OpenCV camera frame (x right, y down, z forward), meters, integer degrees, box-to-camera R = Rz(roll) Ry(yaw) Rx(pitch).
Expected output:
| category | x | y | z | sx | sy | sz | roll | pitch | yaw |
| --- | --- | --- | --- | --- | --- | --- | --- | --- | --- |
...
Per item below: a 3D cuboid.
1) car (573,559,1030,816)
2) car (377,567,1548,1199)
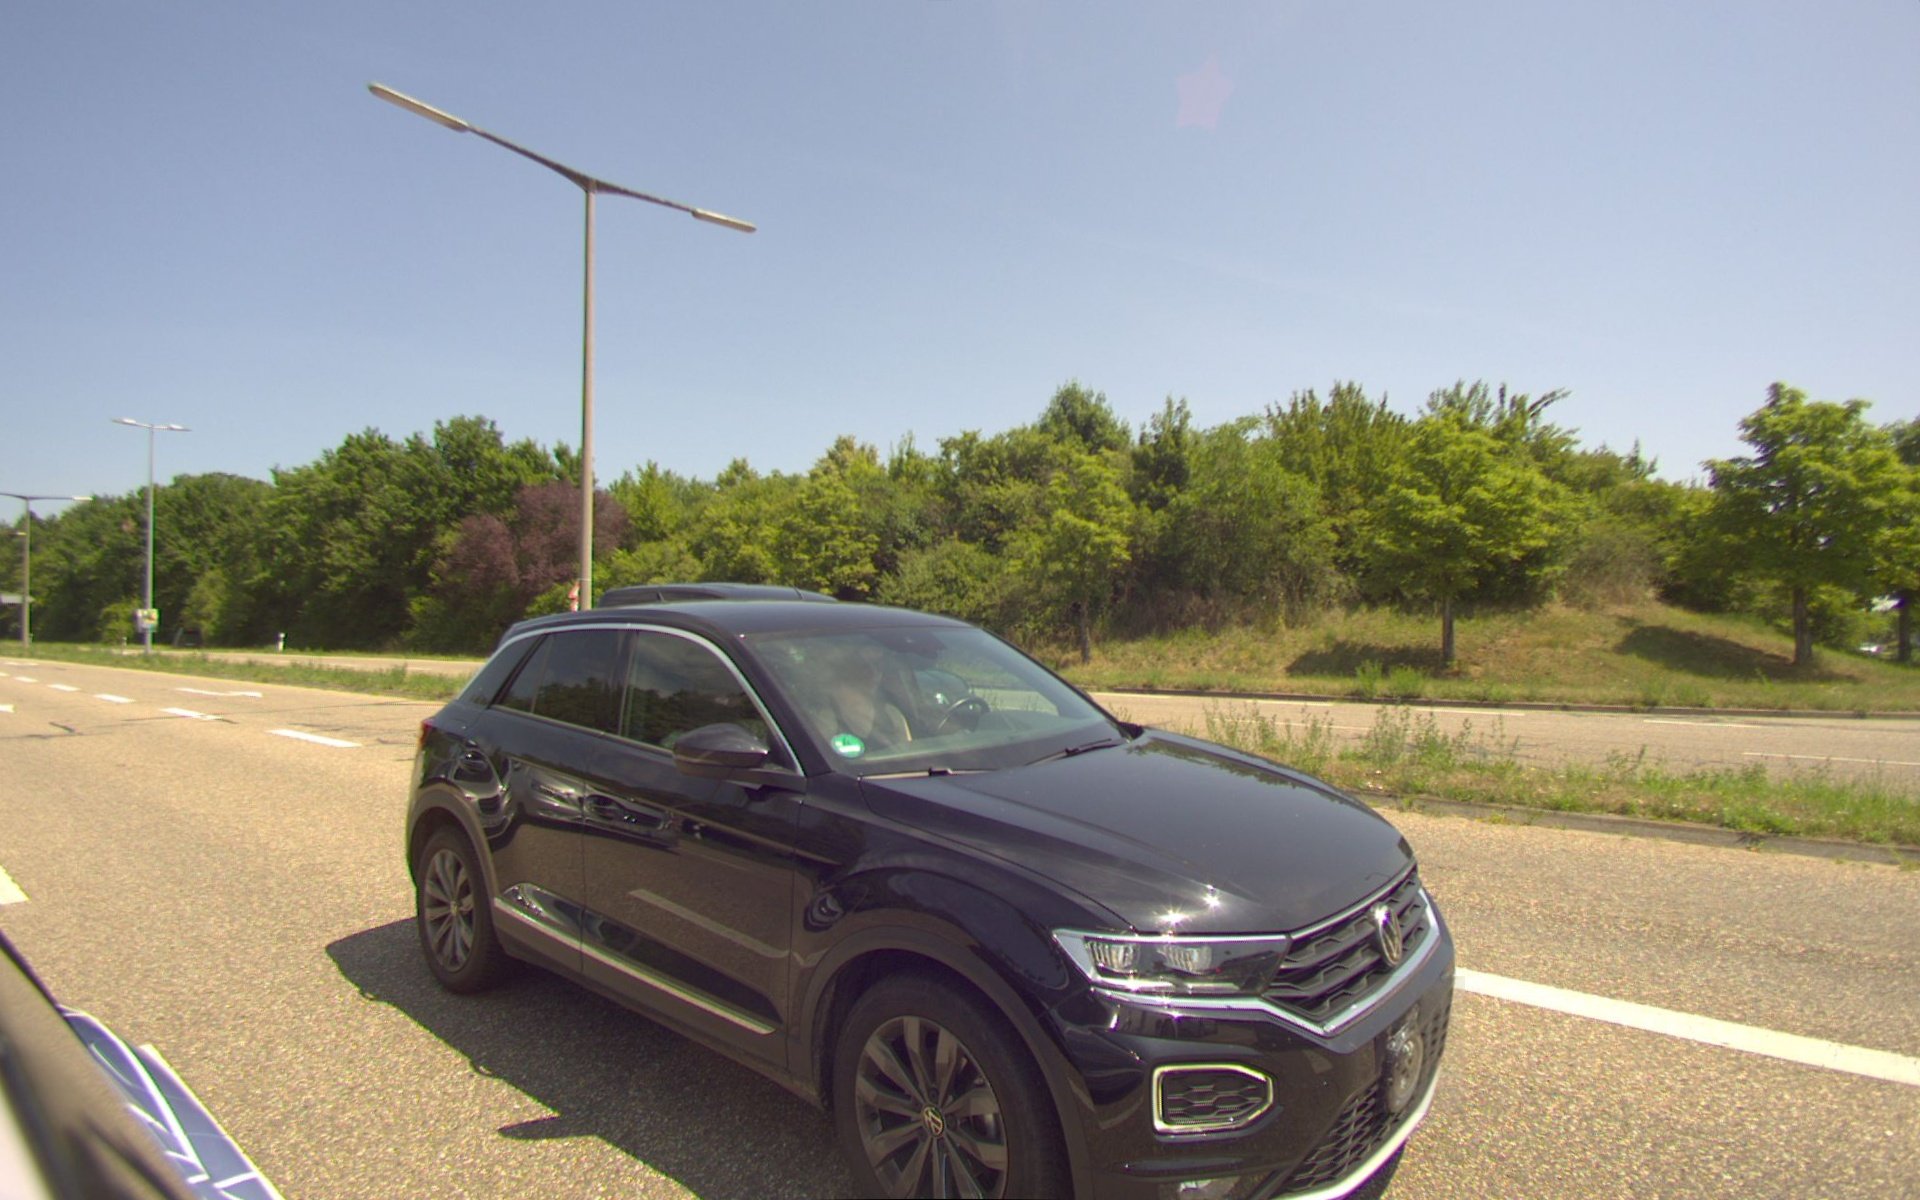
| category | x | y | z | sx | sy | sz | roll | pitch | yaw |
| --- | --- | --- | --- | --- | --- | --- | --- | --- | --- |
| car | -1.617 | 0.683 | 9.284 | 4.317 | 1.840 | 1.714 | -2 | -2 | 39 |
| car | -0.374 | 0.722 | 3.553 | 3.969 | 1.523 | 1.716 | -1 | 0 | 41 |
